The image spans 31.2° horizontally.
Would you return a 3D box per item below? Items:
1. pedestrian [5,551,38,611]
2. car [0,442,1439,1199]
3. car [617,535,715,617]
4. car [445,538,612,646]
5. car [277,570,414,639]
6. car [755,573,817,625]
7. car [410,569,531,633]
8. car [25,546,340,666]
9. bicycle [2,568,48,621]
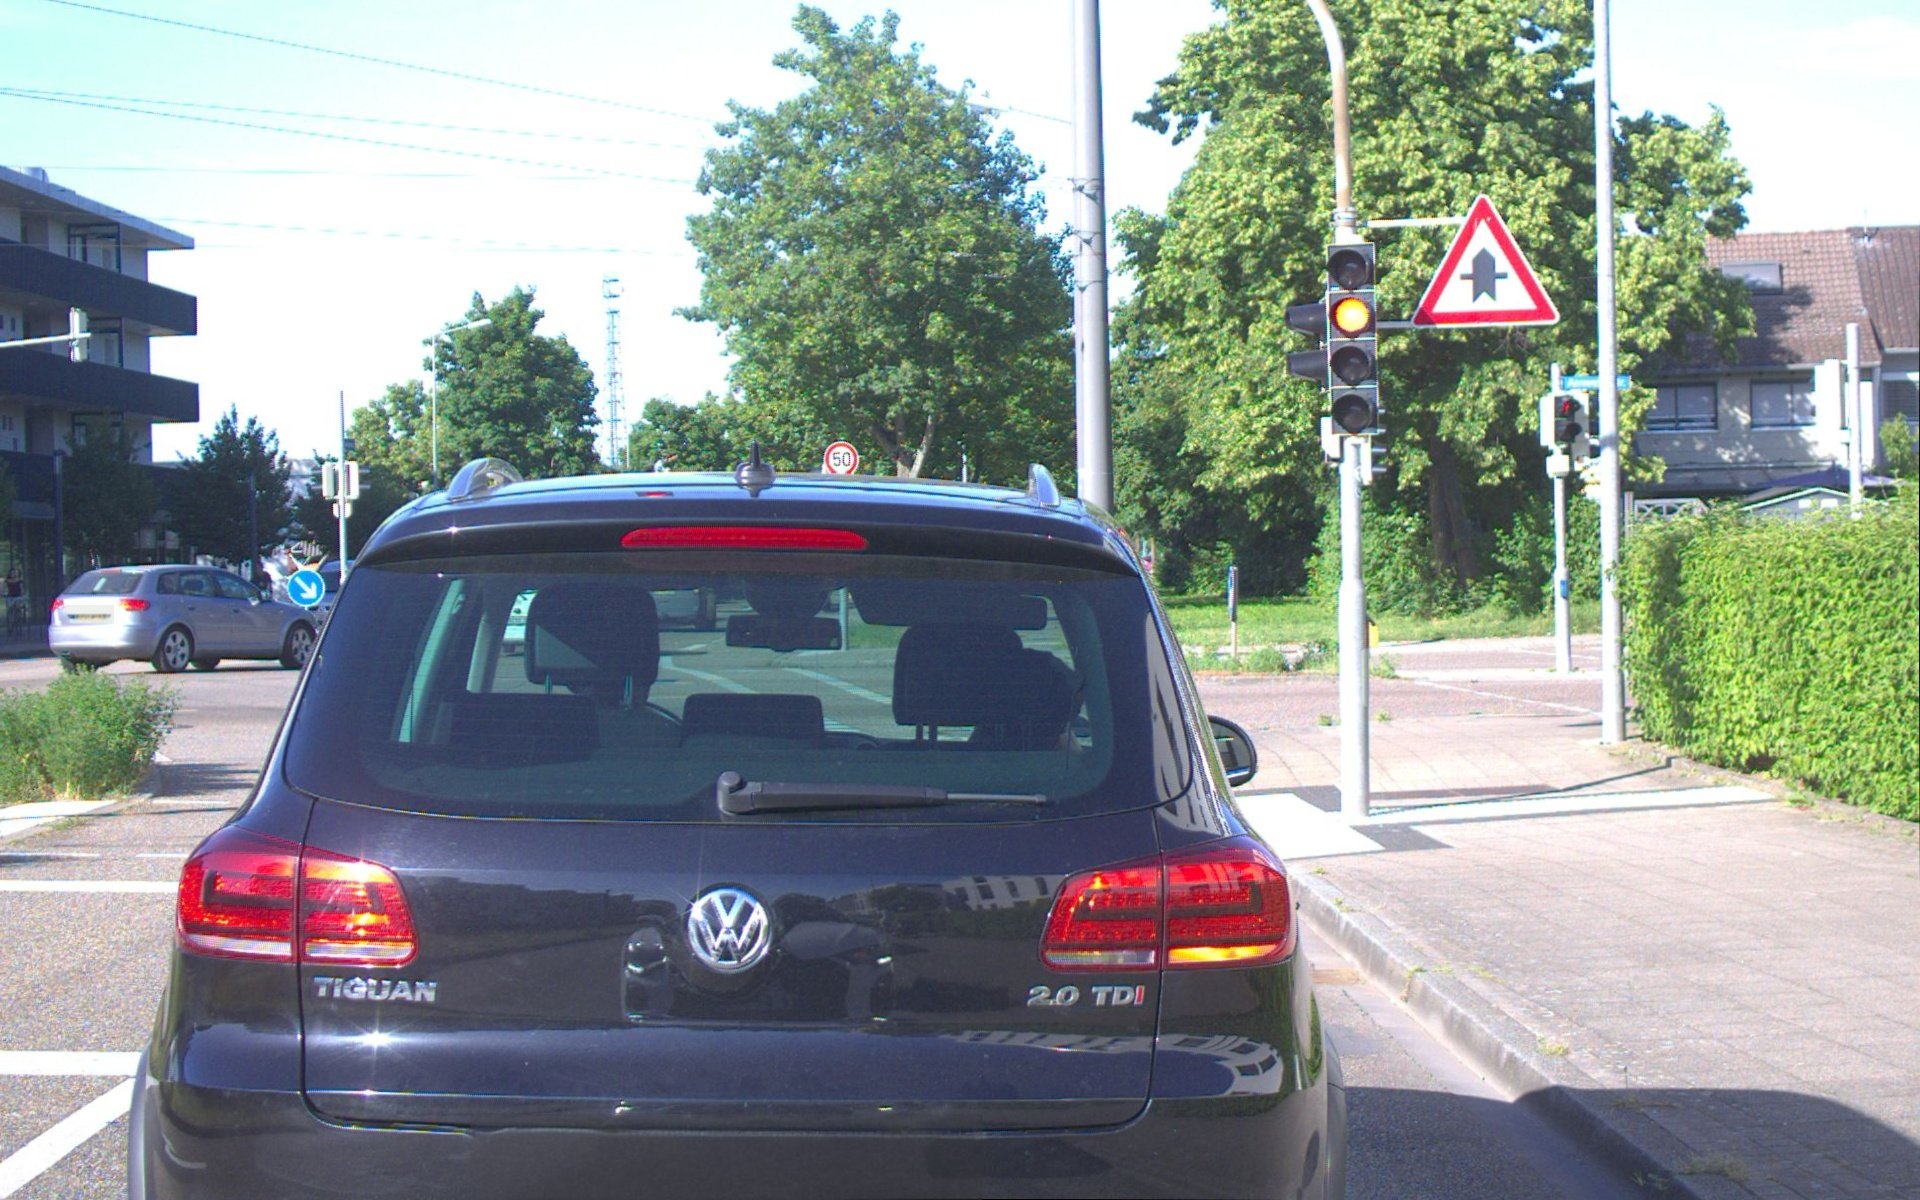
[{"bbox_3d":[-23.792,-0.490,87.134,0.642,1.504,0.596,1,0,1],"label":"pedestrian"},{"bbox_3d":[-0.340,0.602,6.497,1.869,1.632,4.000,1,1,-1],"label":"car"},{"bbox_3d":[-6.774,-0.564,79.597,1.993,1.830,4.000,1,1,-1],"label":"car"},{"bbox_3d":[-7.173,-0.161,57.528,1.864,1.714,3.686,-1,1,8],"label":"car"},{"bbox_3d":[-14.515,0.091,81.395,1.994,1.569,4.338,1,1,7],"label":"car"},{"bbox_3d":[-5.816,-0.049,115.439,1.993,1.678,4.000,1,1,-2],"label":"car"},{"bbox_3d":[-12.515,0.015,88.135,1.994,1.569,4.338,1,1,7],"label":"car"},{"bbox_3d":[-10.287,0.055,45.768,1.866,1.480,4.104,-1,1,27],"label":"car"},{"bbox_3d":[-23.788,-0.139,87.491,0.630,1.327,1.913,1,1,1],"label":"bicycle"}]
